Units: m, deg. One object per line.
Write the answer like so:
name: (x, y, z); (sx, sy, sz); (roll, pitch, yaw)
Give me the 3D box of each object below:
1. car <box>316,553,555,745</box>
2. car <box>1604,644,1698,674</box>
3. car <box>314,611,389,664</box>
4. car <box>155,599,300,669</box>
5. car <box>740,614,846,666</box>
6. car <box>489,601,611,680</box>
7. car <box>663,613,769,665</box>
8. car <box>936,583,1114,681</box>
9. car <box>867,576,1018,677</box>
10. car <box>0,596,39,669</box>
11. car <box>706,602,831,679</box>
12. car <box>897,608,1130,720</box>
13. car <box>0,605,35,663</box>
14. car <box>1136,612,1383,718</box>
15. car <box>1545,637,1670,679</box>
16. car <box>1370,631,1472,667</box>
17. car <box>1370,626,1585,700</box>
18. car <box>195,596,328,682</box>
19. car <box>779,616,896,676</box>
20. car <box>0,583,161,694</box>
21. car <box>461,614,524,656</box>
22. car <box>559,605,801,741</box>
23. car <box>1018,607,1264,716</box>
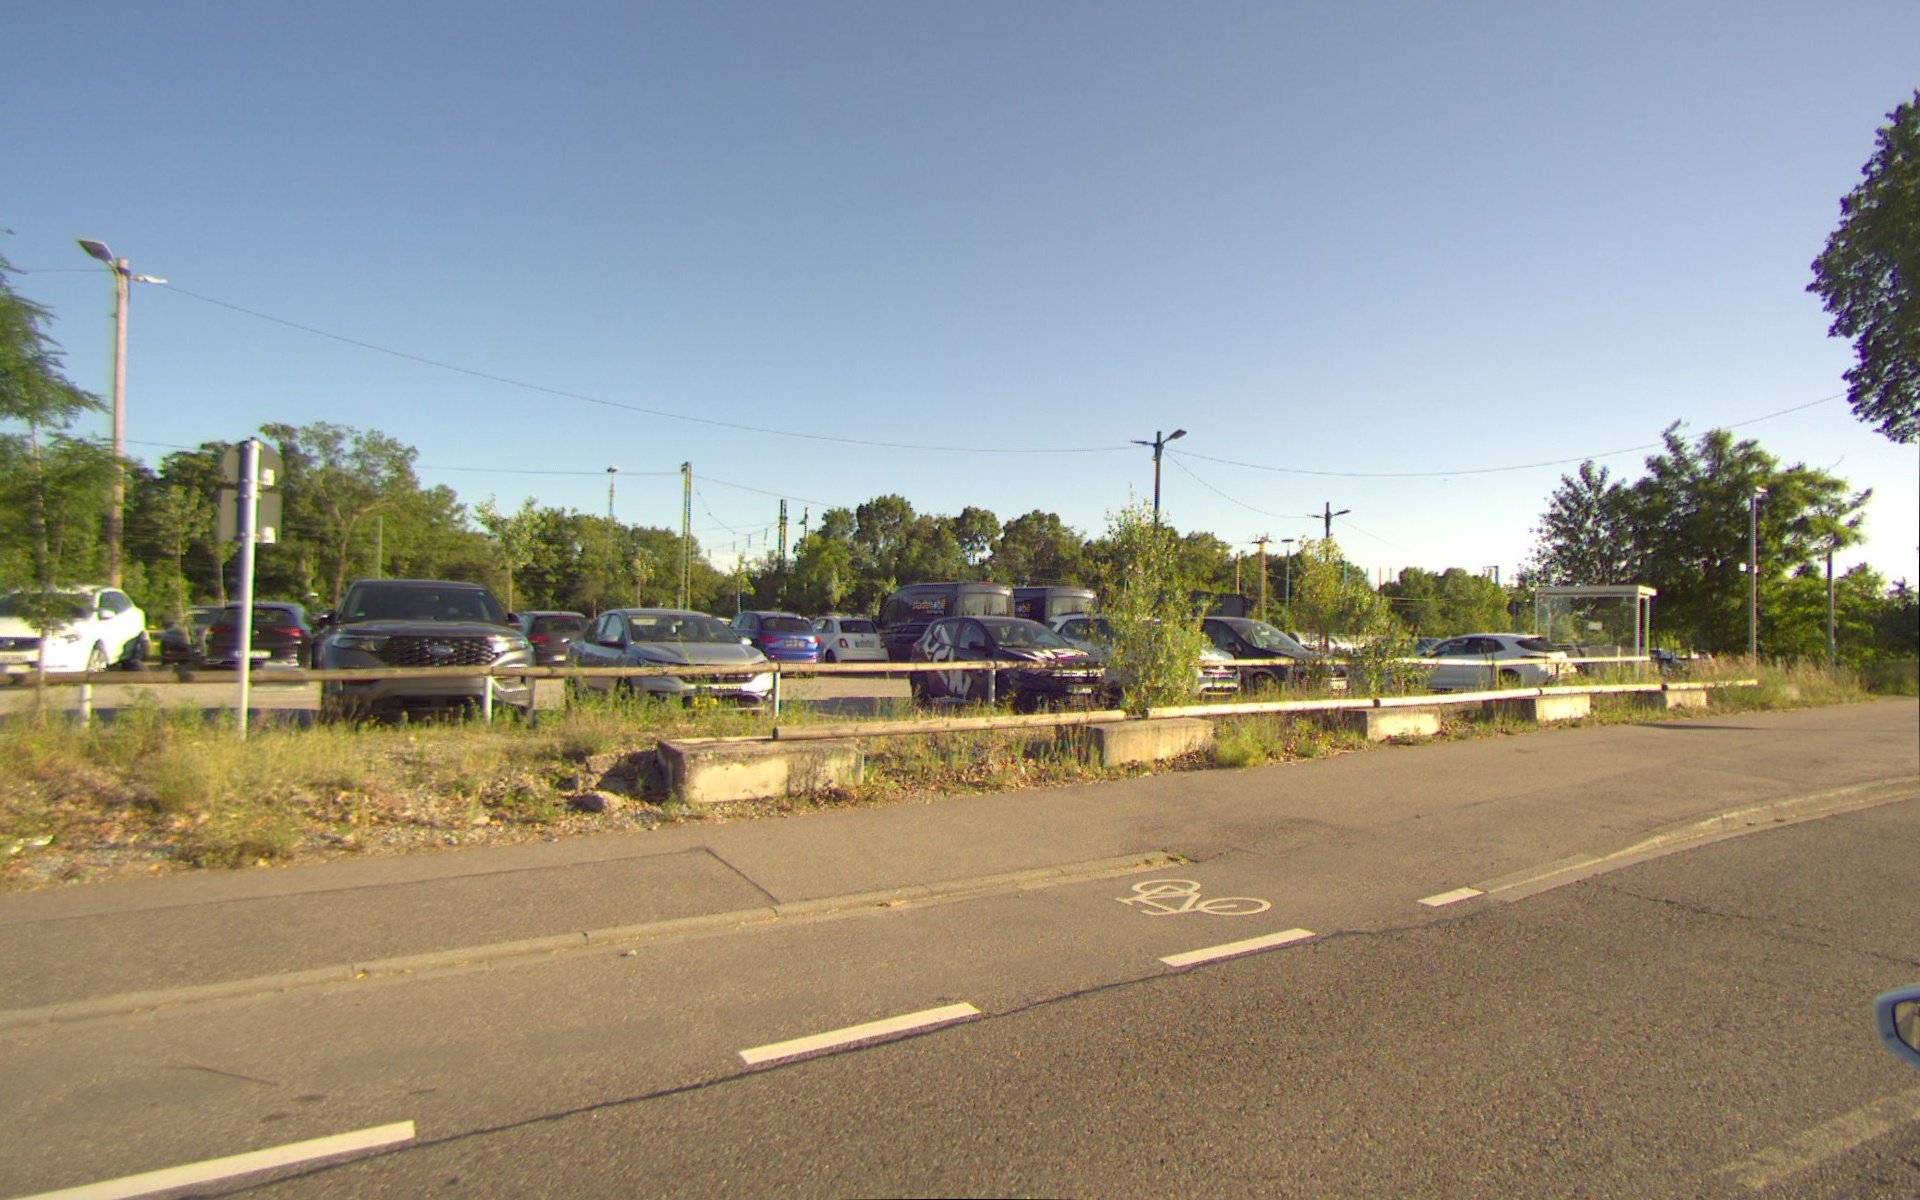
car: (-6.226, 0.585, 11.711); (2.046, 1.766, 4.500); (2, -4, -32)
car: (46.444, 3.939, 67.636); (1.975, 1.788, 4.925); (2, -1, -28)
car: (-20.729, 1.251, 34.362); (1.963, 1.611, 4.170); (2, 0, -29)
car: (-17.288, 0.779, 23.942); (2.065, 1.491, 4.088); (2, -1, -26)
car: (-5.318, 1.212, 31.593); (1.963, 1.493, 4.170); (2, -1, -29)
car: (-9.431, 0.893, 22.934); (1.977, 1.615, 3.967); (2, -2, -31)
car: (-7.506, 1.159, 30.587); (2.077, 1.438, 4.170); (2, -1, -29)
car: (1.747, 0.886, 29.075); (2.376, 2.550, 5.463); (2, -1, -32)
car: (-0.578, 0.716, 27.510); (2.106, 2.500, 4.442); (2, -1, -32)
car: (-21.239, 0.639, 21.295); (1.929, 1.481, 4.162); (2, -1, -35)
car: (-4.920, 0.963, 25.387); (1.807, 1.602, 3.966); (2, 2, -31)
car: (0.706, 0.938, 15.952); (1.834, 1.535, 3.968); (2, -2, -30)
car: (-28.819, 0.962, 29.187); (1.964, 1.611, 4.167); (2, 0, -31)
car: (5.372, 1.095, 18.479); (1.854, 1.676, 4.103); (2, -1, -35)
car: (25.675, 2.275, 39.880); (3.943, 1.478, 1.720); (0, -1, 42)
car: (25.629, 2.692, 56.057); (2.169, 1.863, 4.996); (1, -1, -24)
car: (12.218, 1.427, 23.974); (1.870, 1.531, 4.237); (2, -1, -31)
car: (-13.870, 0.724, 20.161); (1.870, 1.507, 3.910); (2, 0, -31)
car: (-3.417, 1.210, 27.436); (1.813, 1.528, 3.720); (2, -1, -31)
car: (-16.097, 0.586, 17.929); (2.015, 1.717, 4.667); (2, 0, -28)
car: (-17.322, 1.276, 37.099); (1.854, 1.450, 3.904); (2, -1, -29)
car: (-3.754, 0.831, 13.007); (1.821, 1.473, 3.886); (2, -2, -35)
car: (2.979, 0.983, 17.282); (1.868, 1.632, 4.017); (2, -2, -35)
